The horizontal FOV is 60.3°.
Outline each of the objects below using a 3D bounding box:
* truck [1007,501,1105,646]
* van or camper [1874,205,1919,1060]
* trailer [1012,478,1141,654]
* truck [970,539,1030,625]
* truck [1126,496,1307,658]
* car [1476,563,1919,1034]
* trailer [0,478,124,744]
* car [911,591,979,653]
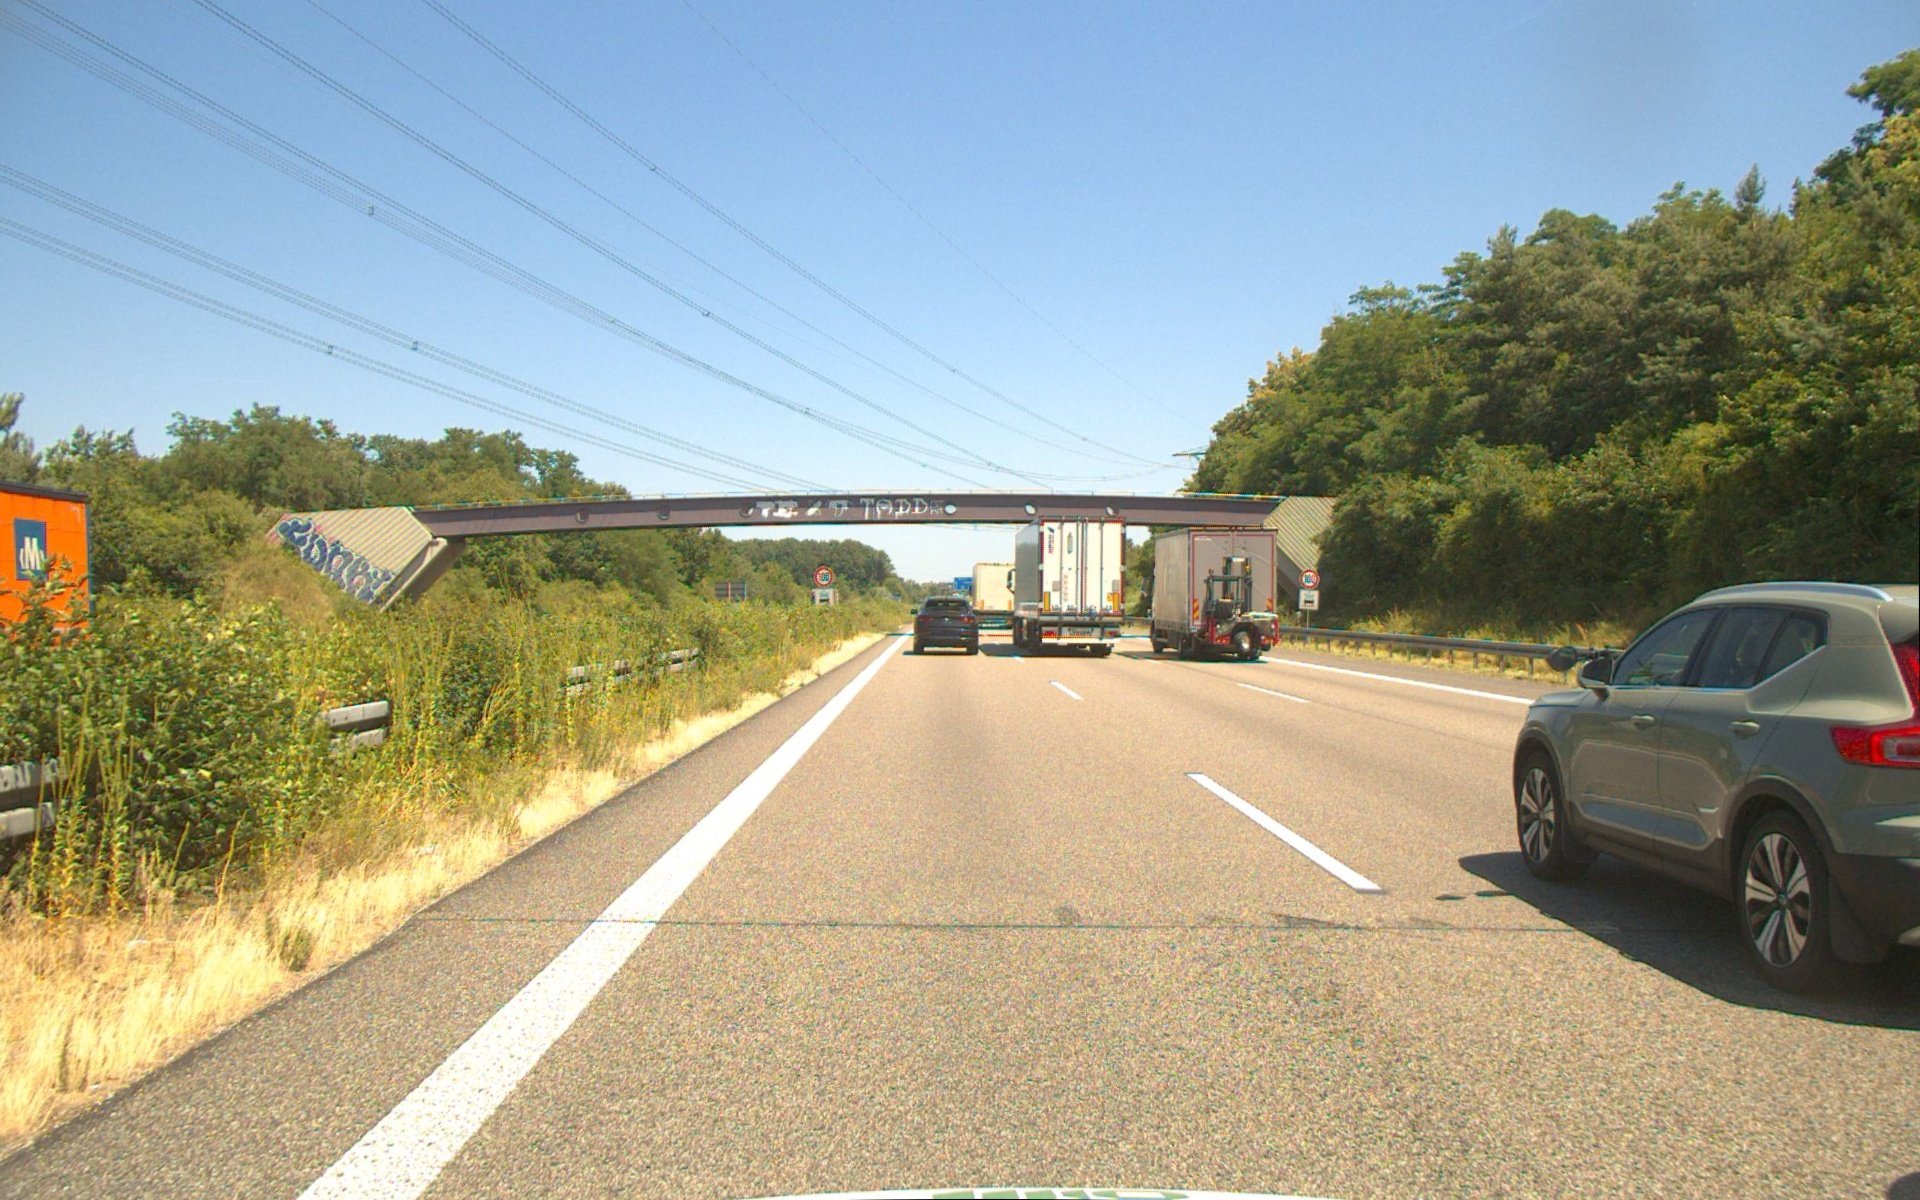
[{"bbox_3d":[3.423,-0.898,60.737,3.024,4.970,6.596,1,0,-1],"label":"truck"},{"bbox_3d":[4.341,0.136,2.330,2.390,2.721,6.347,2,0,-2],"label":"van or camper"},{"bbox_3d":[3.539,-0.937,53.552,3.024,4.970,12.254,1,0,-1],"label":"trailer"},{"bbox_3d":[2.487,-1.106,107.536,3.440,5.257,10.256,1,0,-1],"label":"truck"},{"bbox_3d":[7.544,-0.581,50.677,3.498,4.319,11.649,1,0,-1],"label":"truck"},{"bbox_3d":[4.210,0.695,8.048,1.841,1.640,4.700,0,0,-1],"label":"car"},{"bbox_3d":[-17.746,0.225,24.954,3.276,4.484,14.161,-1,0,-1],"label":"trailer"},{"bbox_3d":[-0.491,0.629,50.444,1.953,1.803,3.998,0,0,-2],"label":"car"}]
